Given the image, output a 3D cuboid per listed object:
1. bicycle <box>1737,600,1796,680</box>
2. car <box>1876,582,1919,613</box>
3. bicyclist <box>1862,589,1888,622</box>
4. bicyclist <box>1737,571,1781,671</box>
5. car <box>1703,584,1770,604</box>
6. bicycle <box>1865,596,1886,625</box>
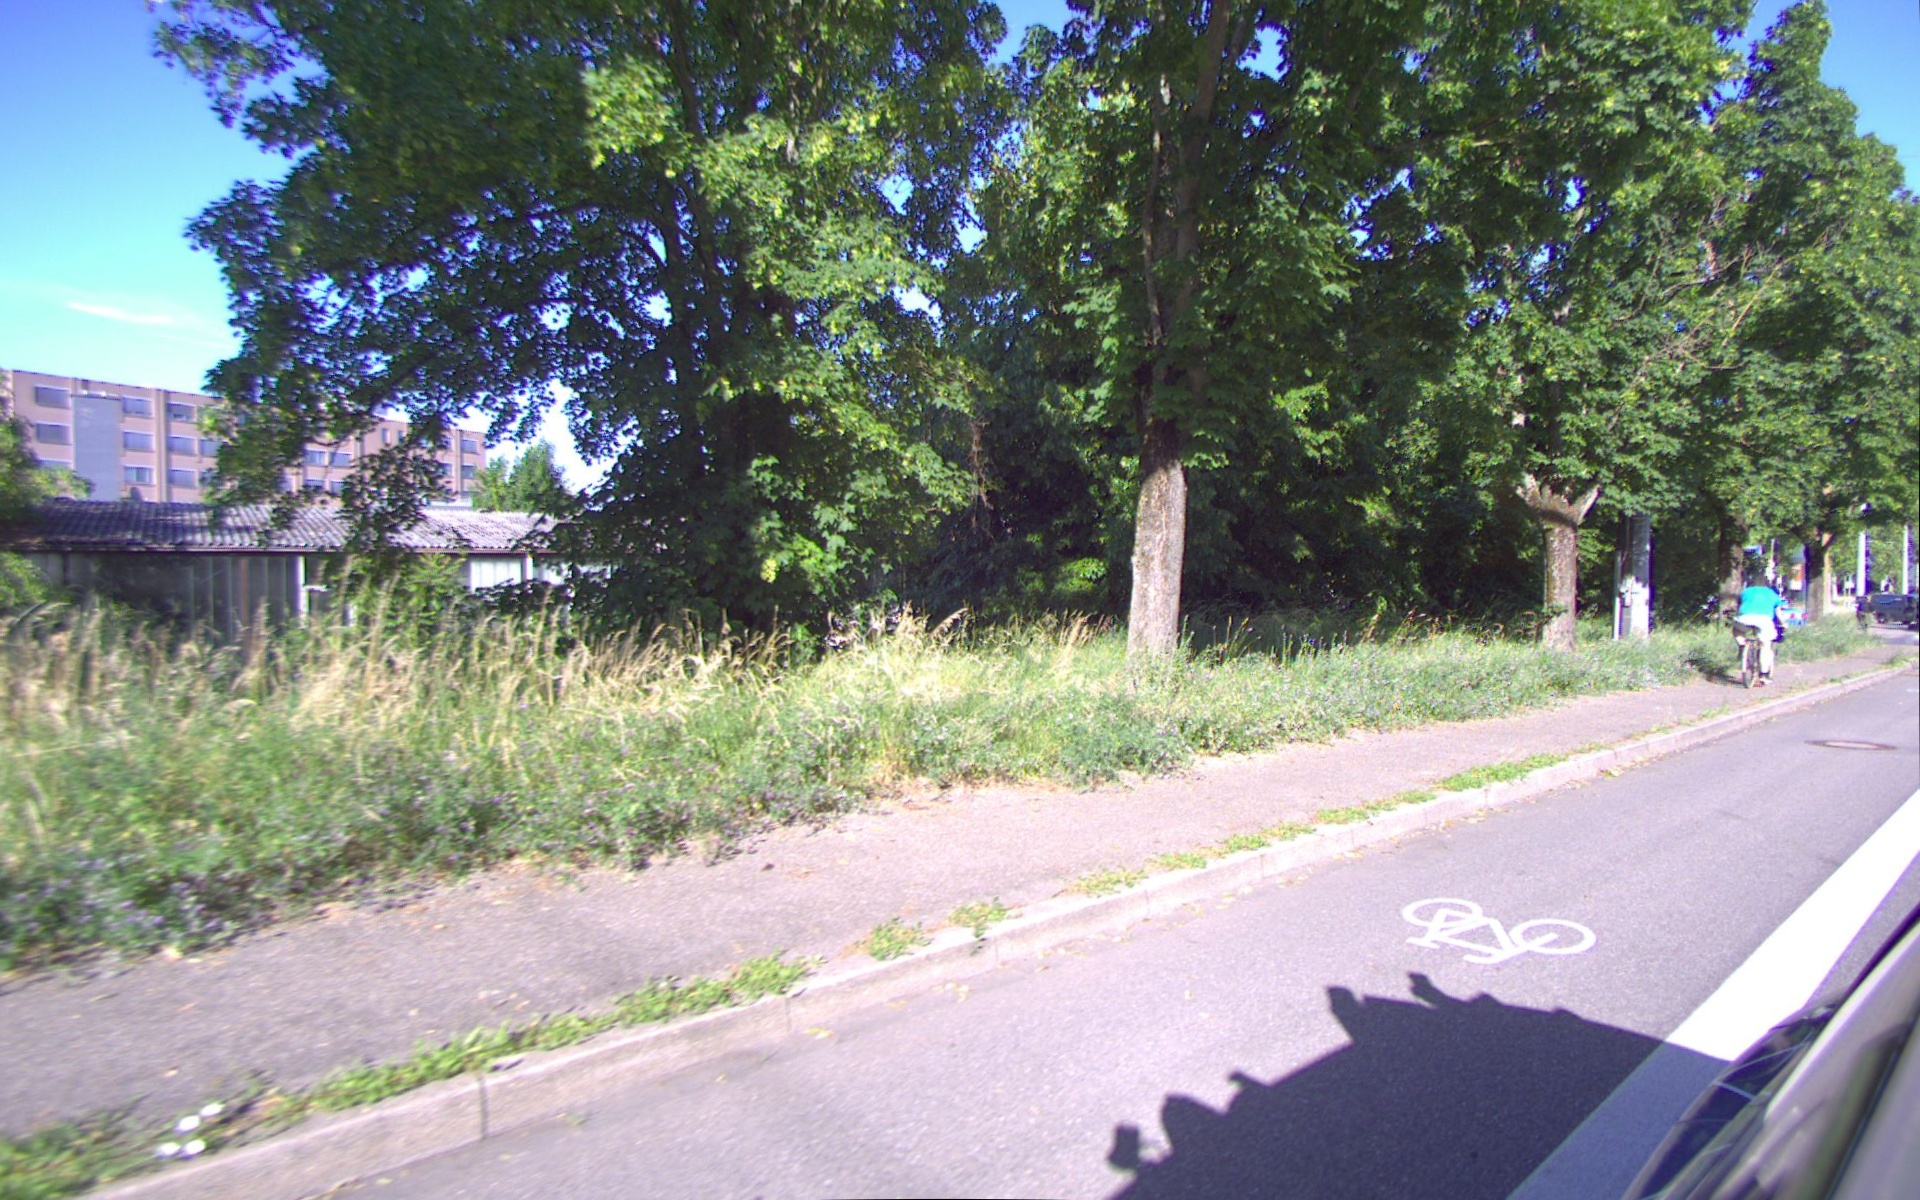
[{"bbox_3d":[12.799,0.604,16.043,1.692,1.203,0.419,0,2,-42],"label":"bicycle"},{"bbox_3d":[68.067,-0.147,71.271,2.088,2.096,5.127,0,2,-6],"label":"car"},{"bbox_3d":[39.436,0.232,43.628,0.756,1.385,0.794,3,2,43],"label":"bicyclist"},{"bbox_3d":[12.562,0.316,15.913,0.564,1.525,0.406,0,2,-41],"label":"bicyclist"},{"bbox_3d":[71.320,-0.581,93.018,4.446,1.732,1.906,1,3,24],"label":"car"},{"bbox_3d":[39.625,0.424,43.795,0.619,1.205,2.467,2,2,43],"label":"bicycle"}]
